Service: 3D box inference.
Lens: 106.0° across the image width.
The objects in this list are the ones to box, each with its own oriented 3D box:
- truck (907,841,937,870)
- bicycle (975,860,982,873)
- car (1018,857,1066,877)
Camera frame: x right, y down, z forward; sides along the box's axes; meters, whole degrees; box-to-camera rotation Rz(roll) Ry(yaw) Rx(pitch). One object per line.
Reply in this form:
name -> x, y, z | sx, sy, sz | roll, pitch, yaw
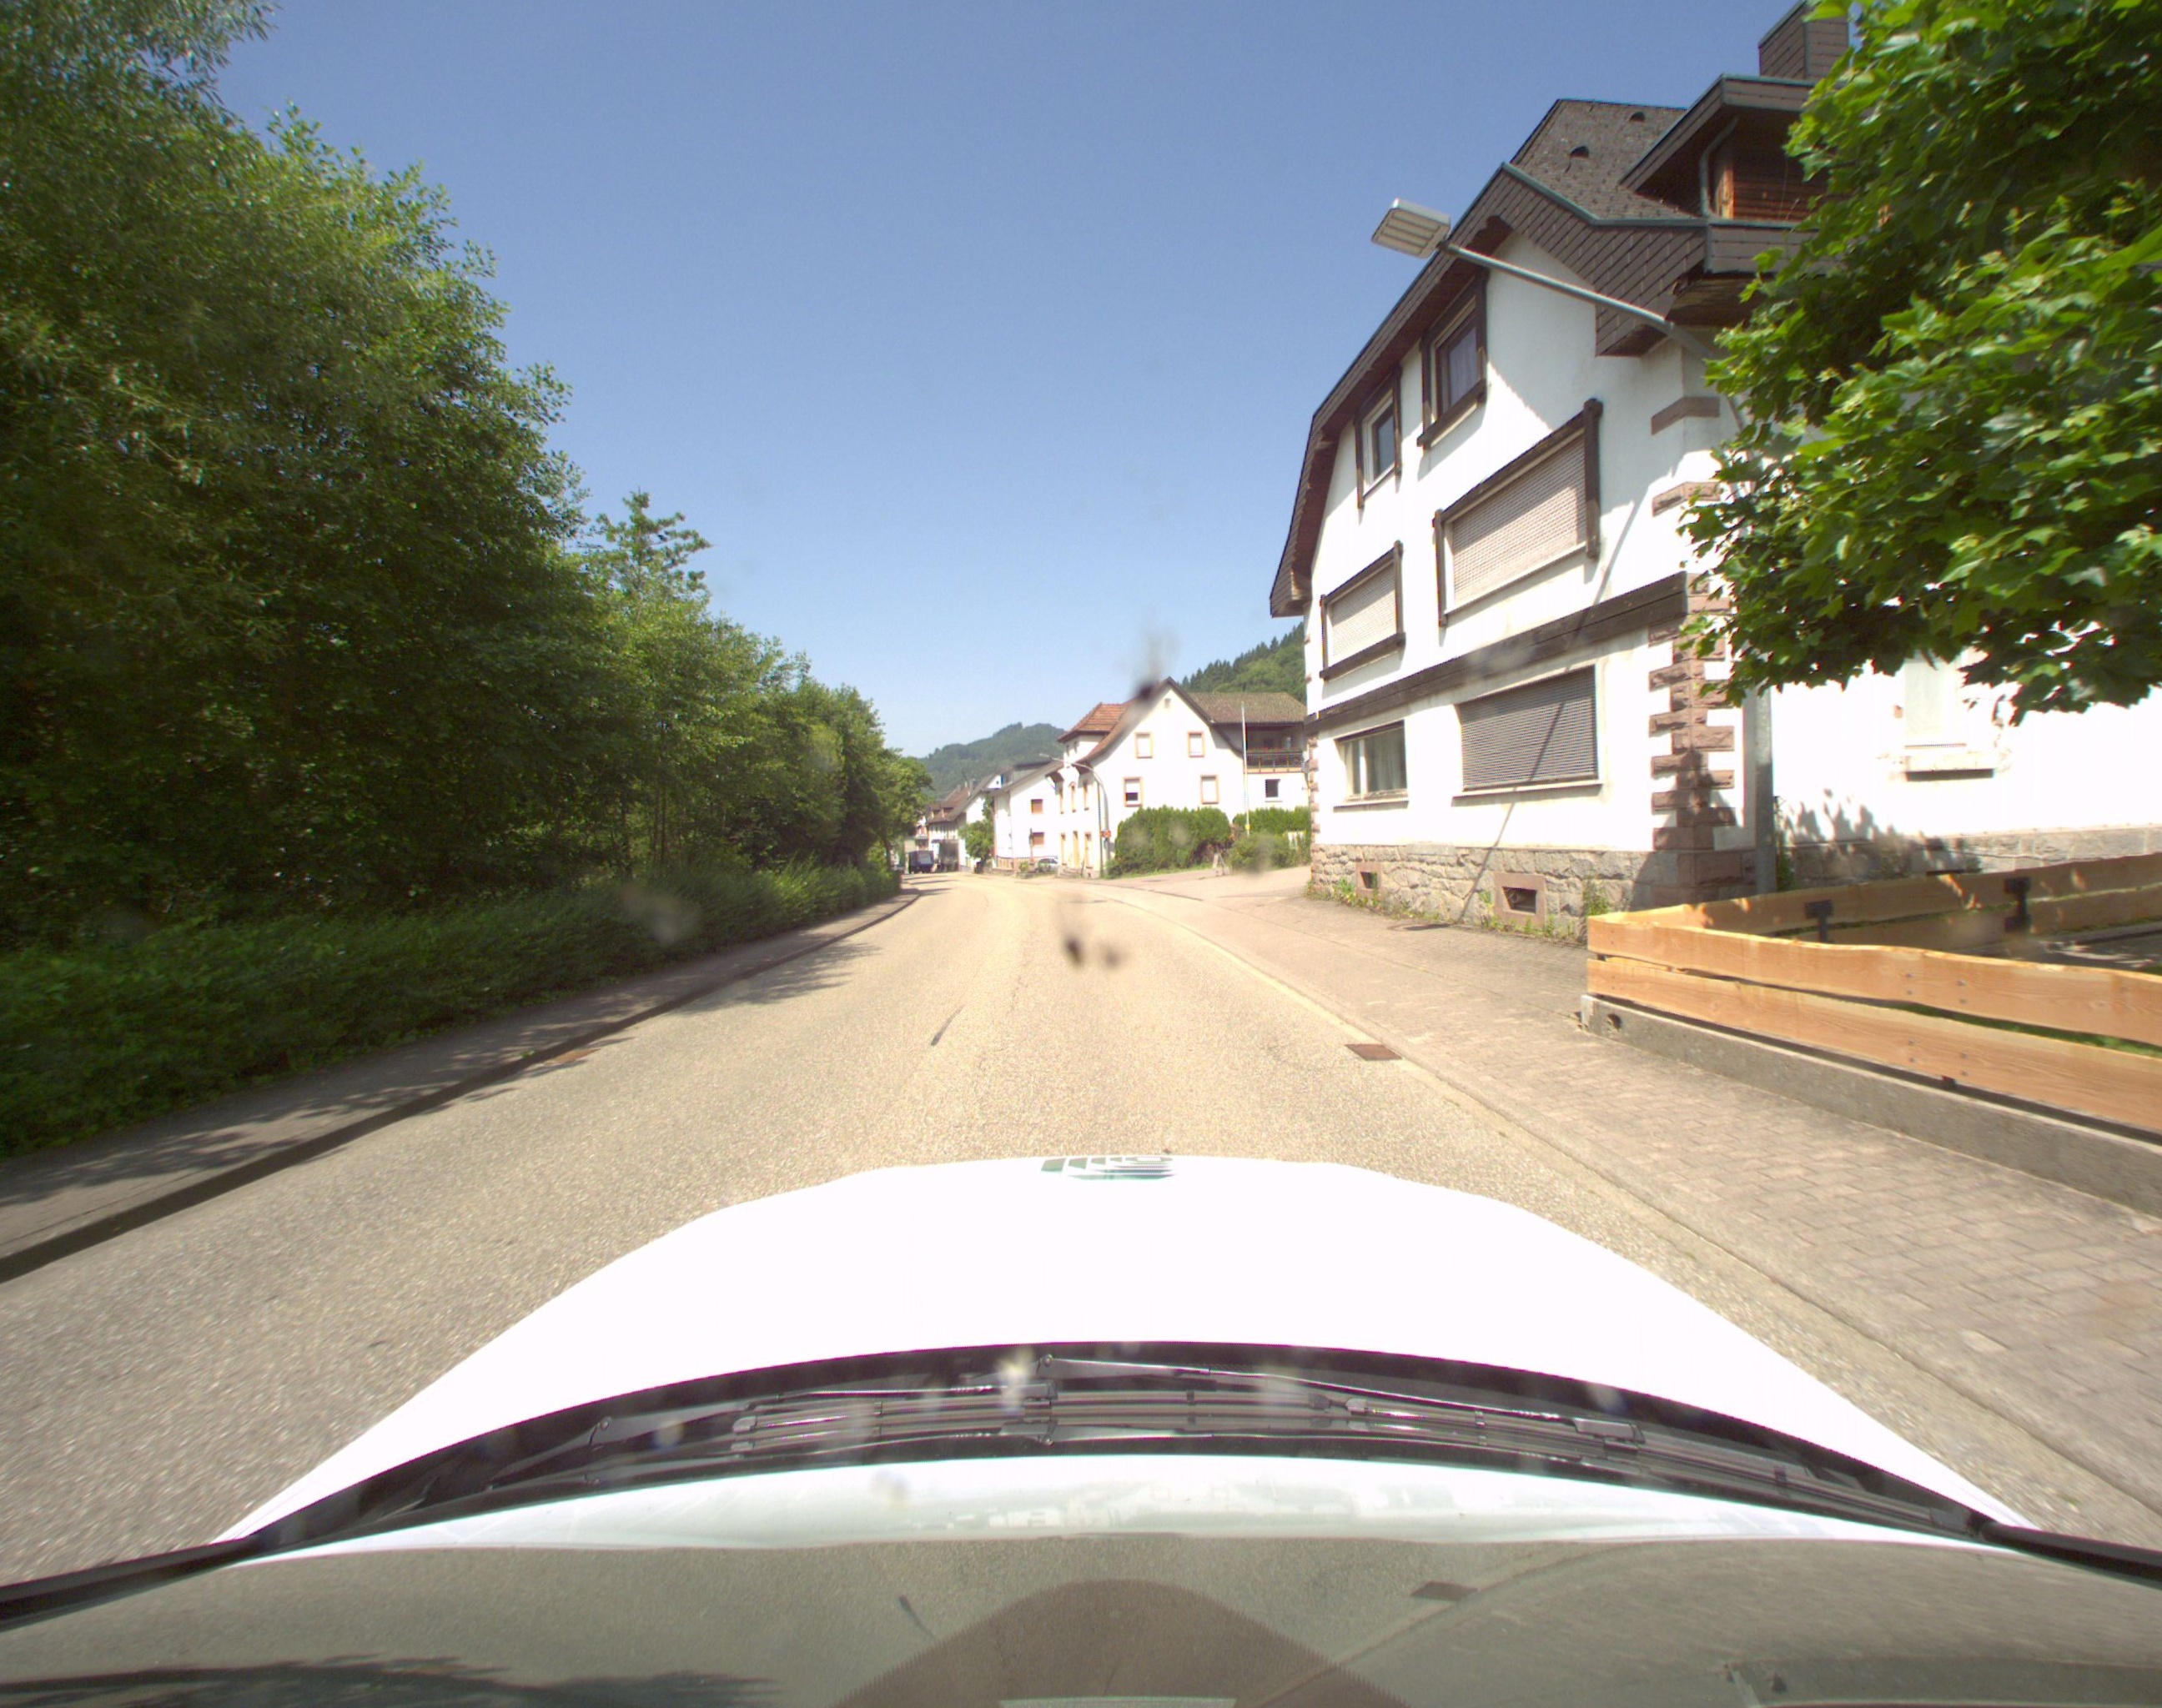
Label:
truck -> -24.382, 0.306, 124.406 | 3.372, 3.781, 8.389 | -6, -1, -17
bicycle -> -11.613, 1.445, 92.344 | 0.426, 1.396, 2.266 | -6, 1, -13
car -> -3.286, 1.075, 68.296 | 3.727, 1.427, 1.620 | -4, 0, 31
